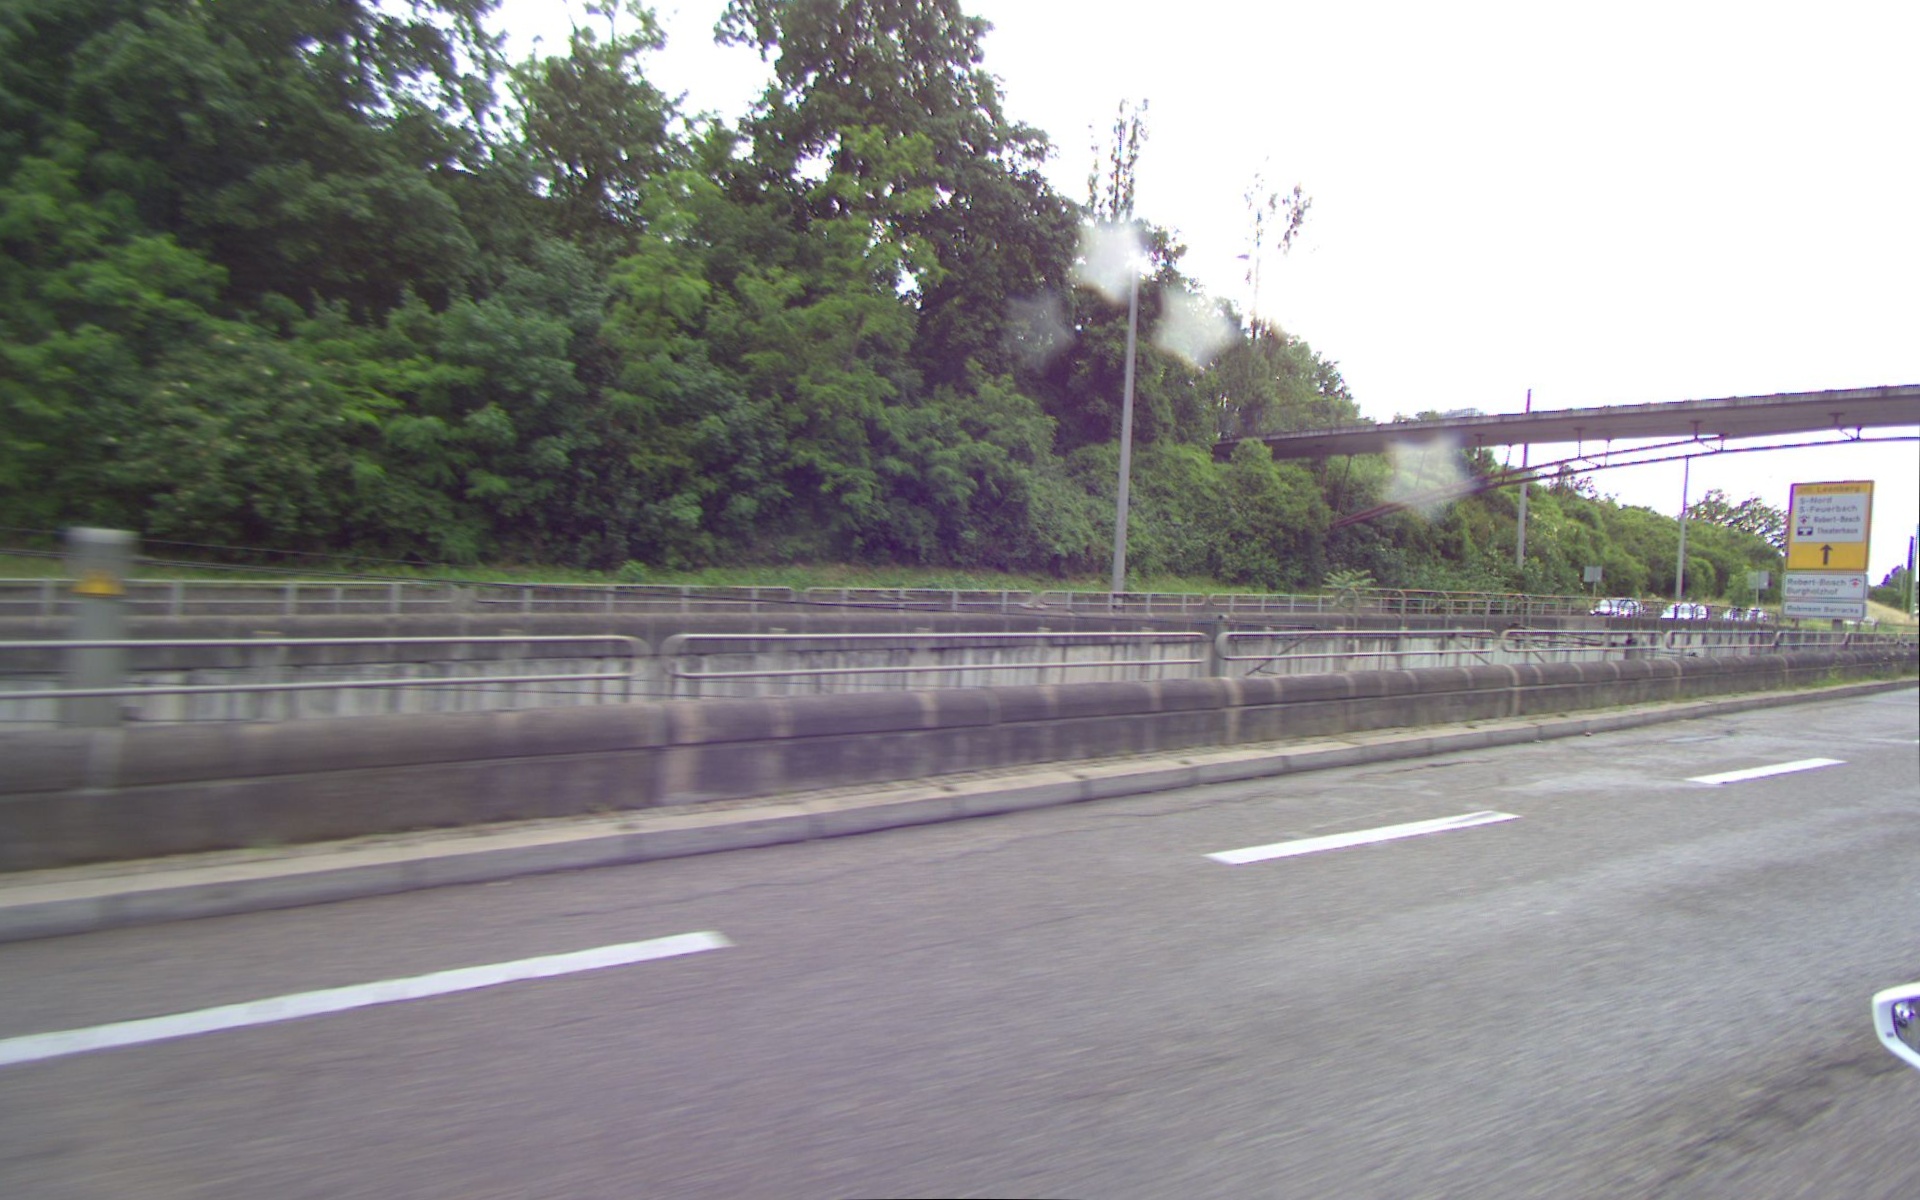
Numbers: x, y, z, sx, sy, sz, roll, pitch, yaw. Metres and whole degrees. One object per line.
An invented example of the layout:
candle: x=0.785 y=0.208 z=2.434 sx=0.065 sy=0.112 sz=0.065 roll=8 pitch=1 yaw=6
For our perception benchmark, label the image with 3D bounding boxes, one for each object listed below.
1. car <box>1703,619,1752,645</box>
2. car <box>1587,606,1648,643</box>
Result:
car: x=54.960 y=2.303 z=71.883 sx=4.670 sy=1.744 sz=1.975 roll=2 pitch=-1 yaw=-42
car: x=36.161 y=1.356 z=55.190 sx=4.523 sy=1.941 sz=1.656 roll=2 pitch=-1 yaw=-41
